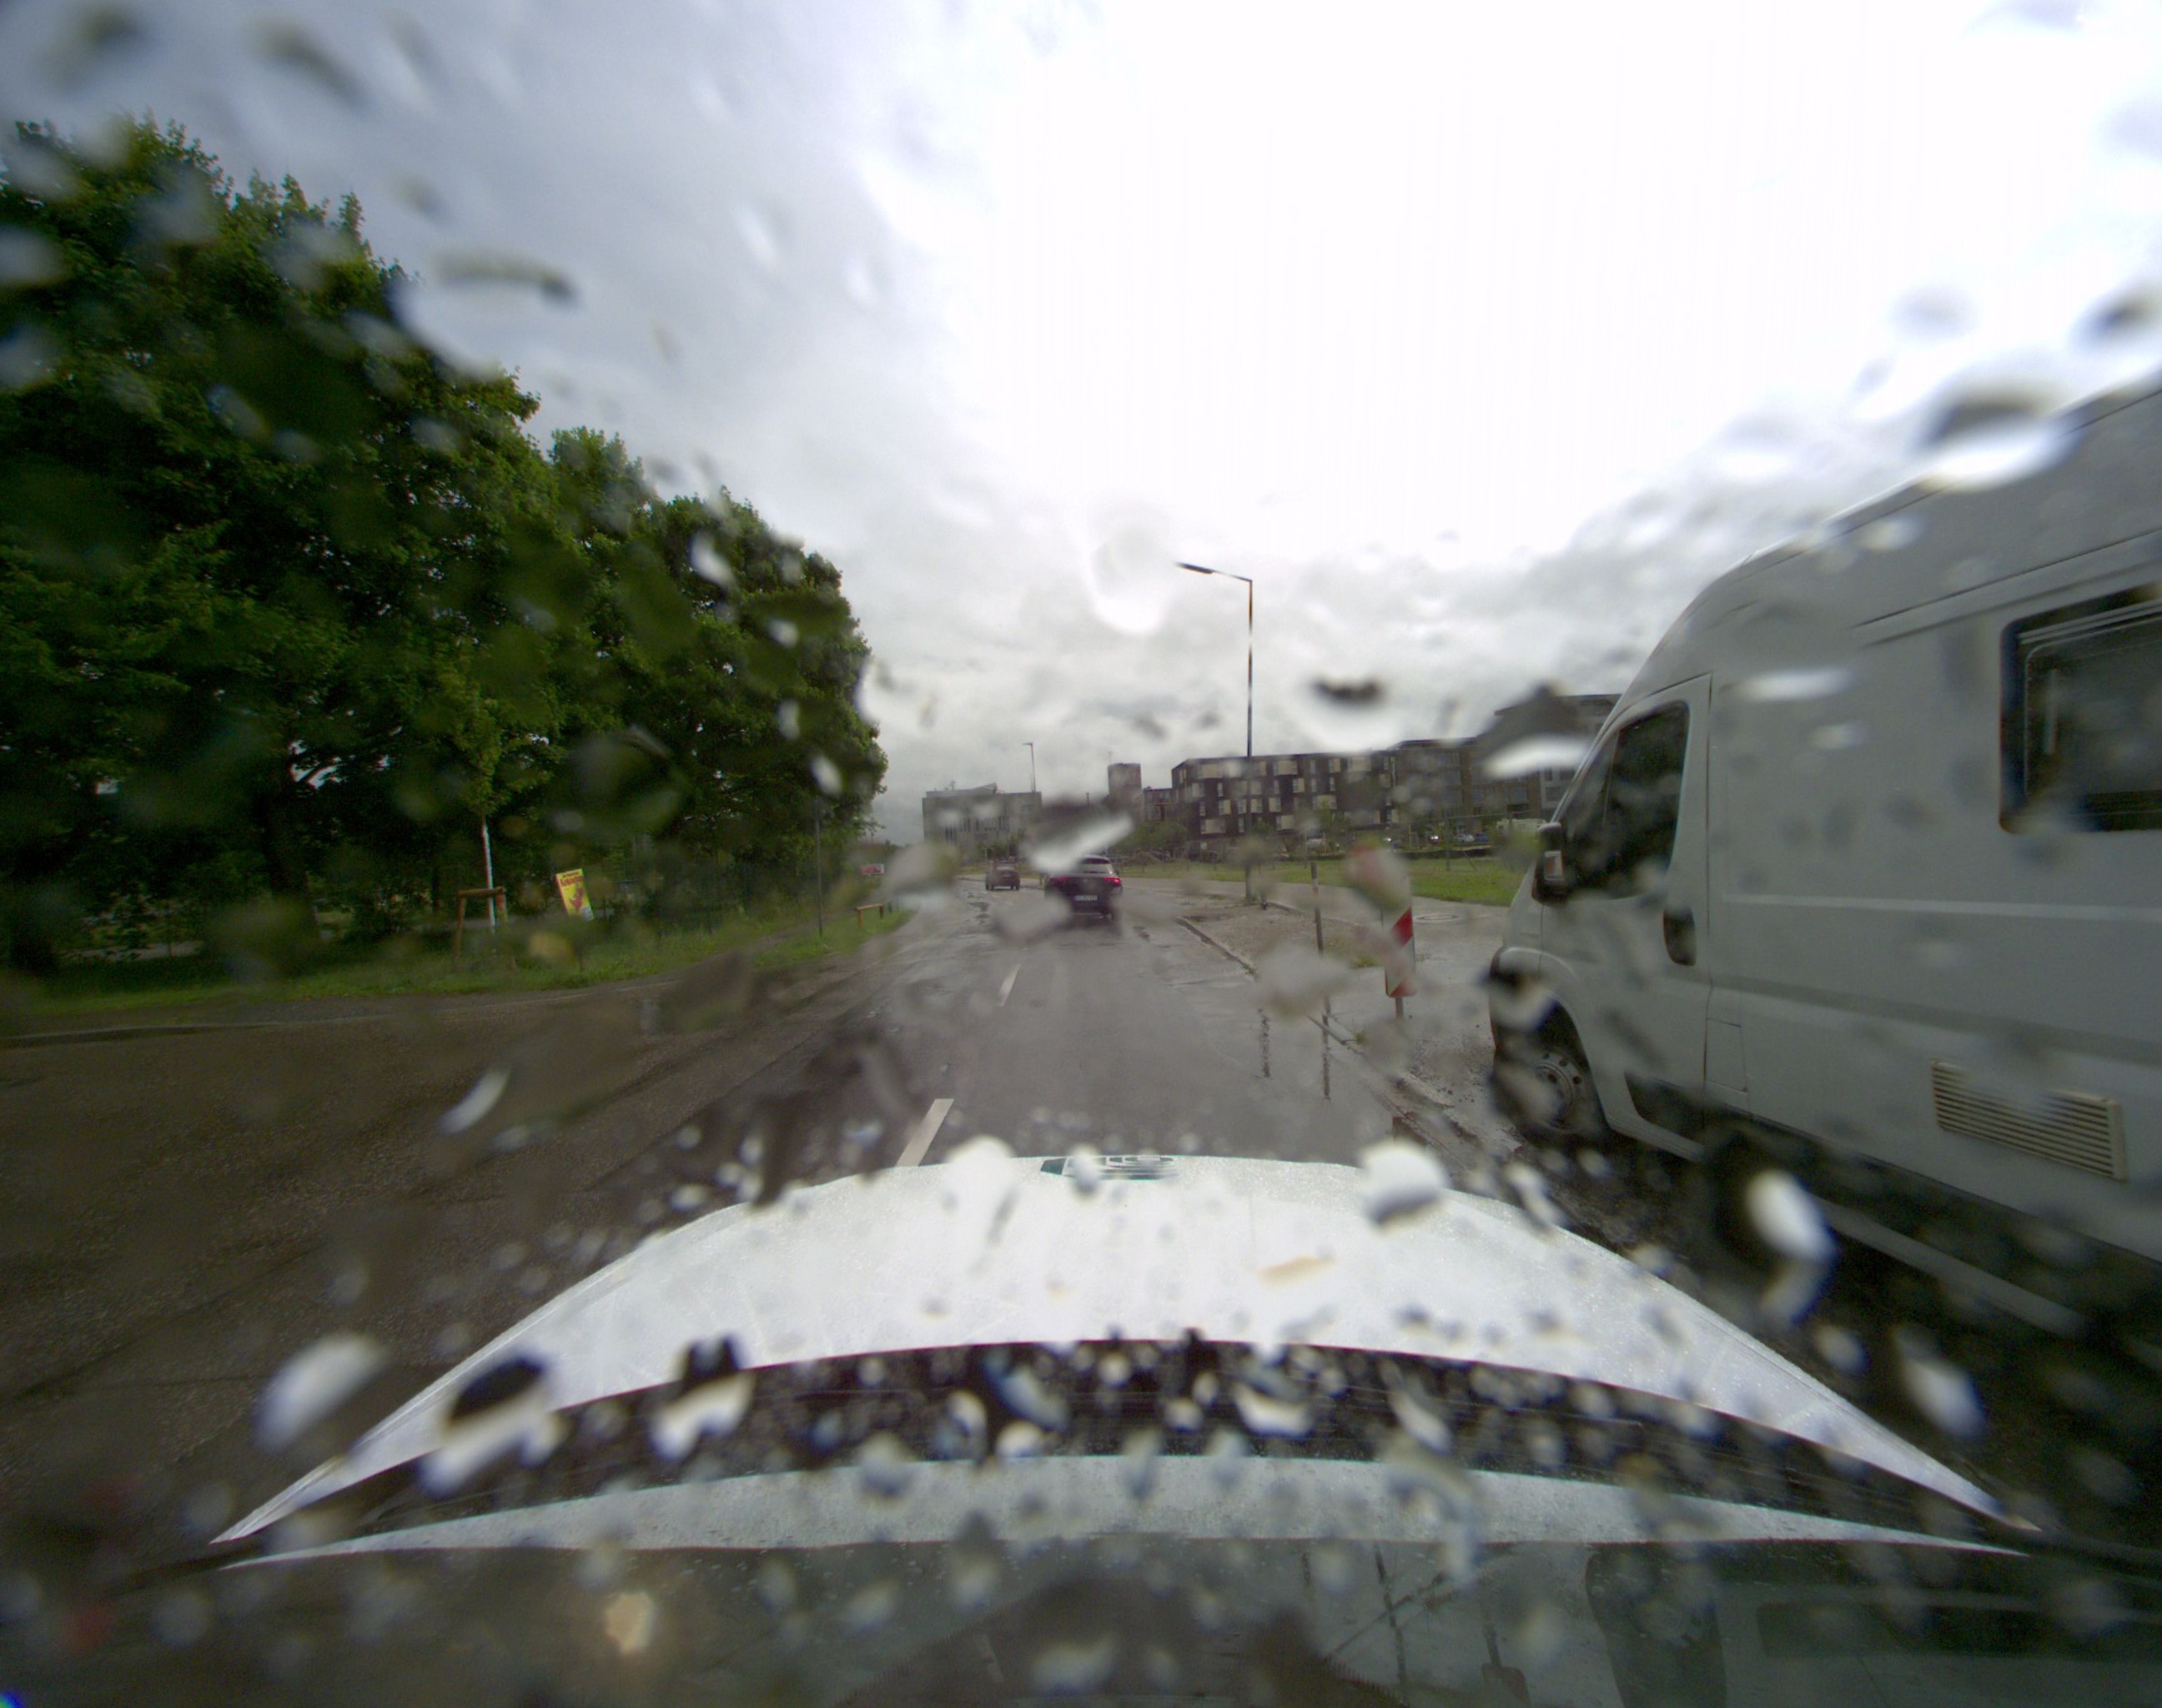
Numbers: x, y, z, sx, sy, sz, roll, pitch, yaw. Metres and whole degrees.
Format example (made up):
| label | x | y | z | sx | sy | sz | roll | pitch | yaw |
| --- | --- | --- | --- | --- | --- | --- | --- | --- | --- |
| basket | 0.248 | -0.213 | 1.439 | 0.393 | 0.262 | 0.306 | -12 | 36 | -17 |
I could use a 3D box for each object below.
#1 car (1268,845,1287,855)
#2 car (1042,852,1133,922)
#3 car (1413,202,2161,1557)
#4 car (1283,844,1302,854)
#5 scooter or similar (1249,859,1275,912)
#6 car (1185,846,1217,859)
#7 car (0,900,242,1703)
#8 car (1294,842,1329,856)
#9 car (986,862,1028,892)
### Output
| label | x | y | z | sx | sy | sz | roll | pitch | yaw |
| --- | --- | --- | --- | --- | --- | --- | --- | --- | --- |
| car | 29.925 | -0.635 | 124.123 | 1.760 | 1.395 | 3.800 | 0 | -1 | -5 |
| car | 0.054 | 0.737 | 19.760 | 1.982 | 1.520 | 3.995 | 0 | -1 | -3 |
| car | 3.009 | 0.026 | 1.783 | 2.084 | 2.472 | 5.949 | -5 | -1 | 1 |
| car | 32.286 | -0.776 | 124.217 | 1.635 | 1.396 | 3.775 | -2 | -2 | -5 |
| scooter or similar | 4.395 | 0.748 | 19.867 | 0.488 | 1.215 | 1.344 | -4 | 0 | 10 |
| car | 16.462 | -0.238 | 112.131 | 3.985 | 1.728 | 1.994 | 0 | -1 | -9 |
| car | -2.867 | 0.882 | 0.242 | 1.652 | 1.468 | 3.388 | -3 | 0 | 0 |
| car | 32.037 | -0.642 | 113.411 | 4.315 | 1.772 | 1.997 | 1 | -1 | -4 |
| car | -4.252 | 1.280 | 46.105 | 1.843 | 1.442 | 3.984 | -6 | 1 | -11 |
